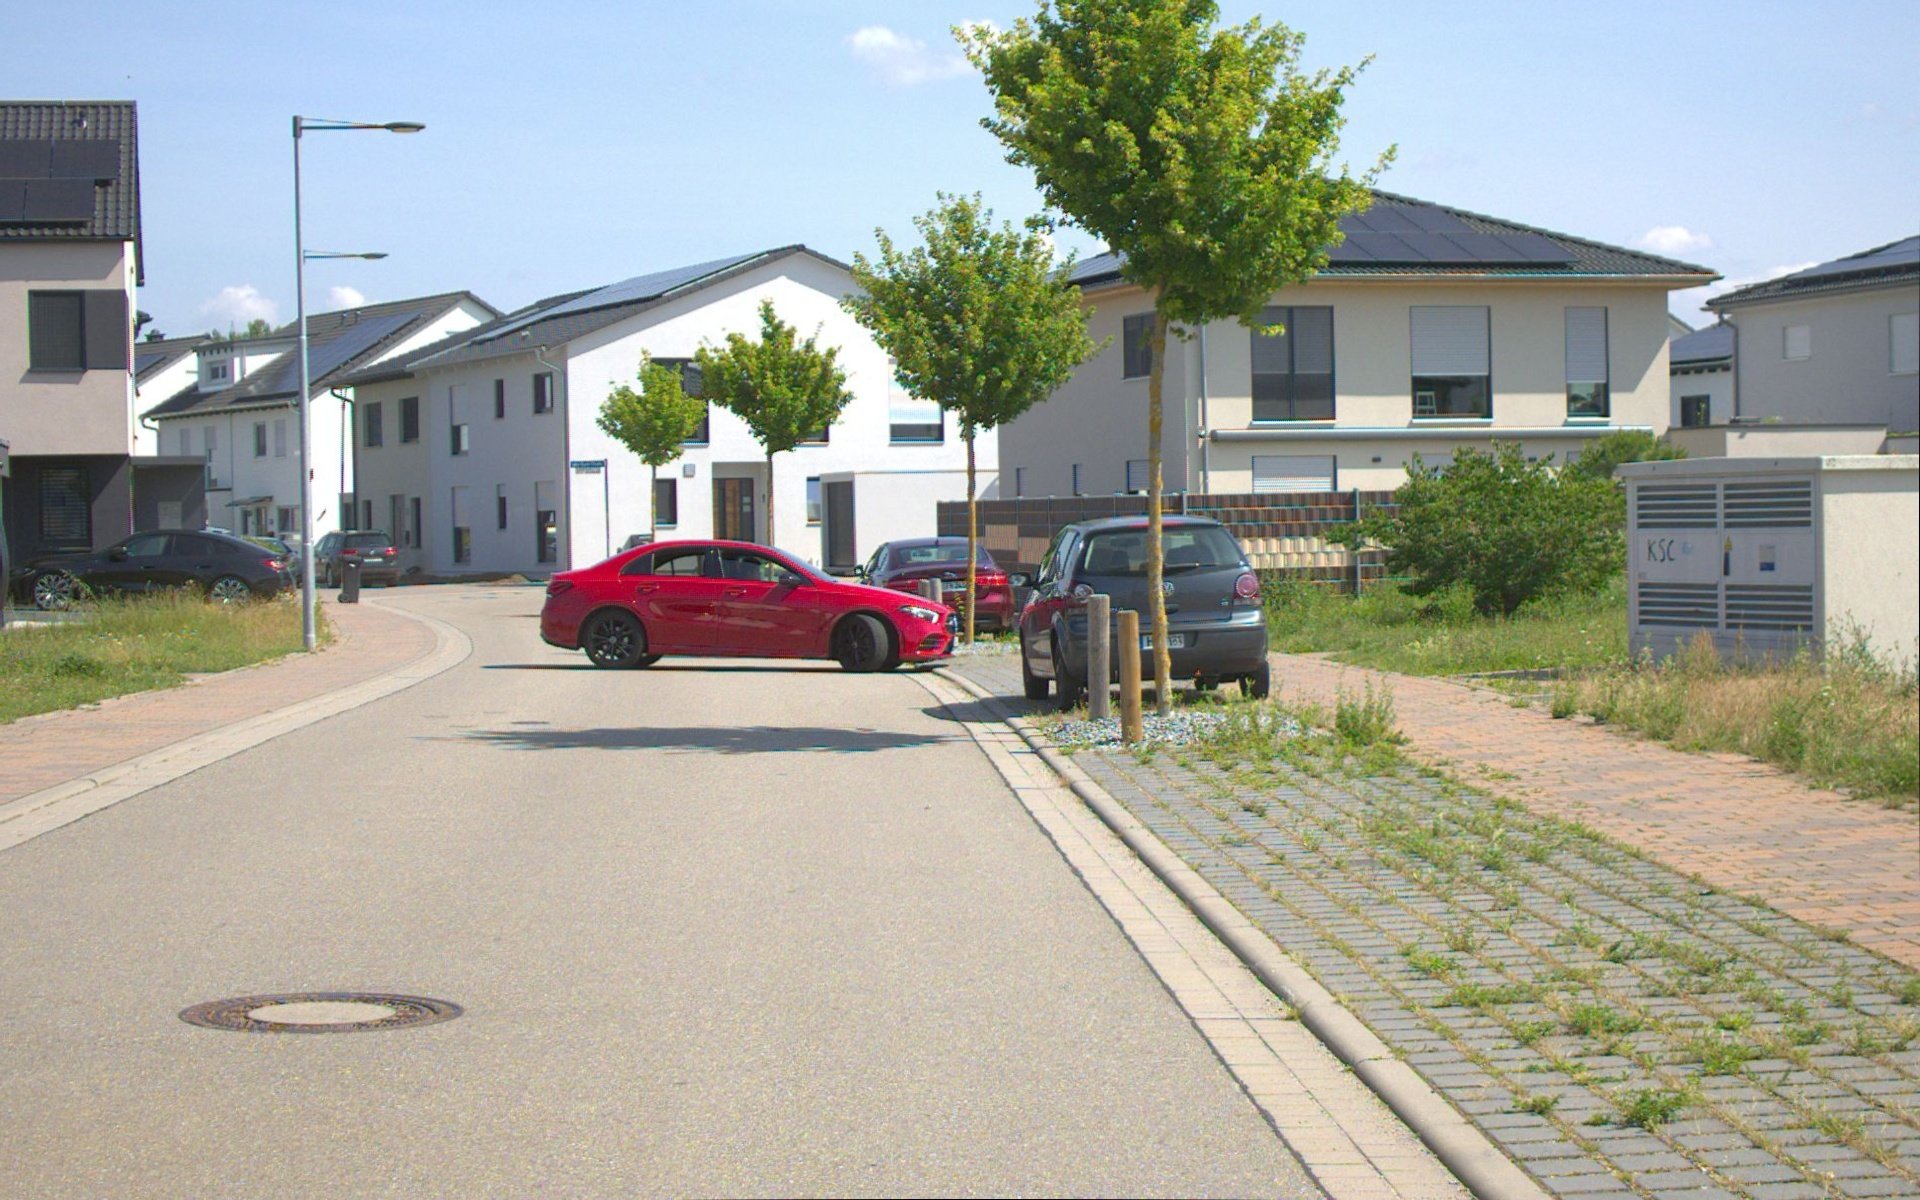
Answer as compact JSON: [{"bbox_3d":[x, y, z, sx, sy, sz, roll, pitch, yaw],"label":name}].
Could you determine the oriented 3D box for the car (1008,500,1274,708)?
[{"bbox_3d":[1.372,-0.015,27.387,1.598,1.470,3.676,-3,1,-4],"label":"car"}]

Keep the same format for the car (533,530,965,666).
[{"bbox_3d":[-2.270,-0.047,37.632,4.505,1.433,1.768,0,1,6],"label":"car"}]

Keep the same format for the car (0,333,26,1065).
[{"bbox_3d":[-3.330,0.312,7.372,1.883,2.007,4.842,0,1,-7],"label":"car"}]

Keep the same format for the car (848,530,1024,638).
[{"bbox_3d":[-0.379,-0.249,46.171,1.754,1.358,4.577,0,1,-8],"label":"car"}]

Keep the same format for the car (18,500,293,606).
[{"bbox_3d":[-13.393,-0.785,57.449,4.374,1.626,1.771,1,1,-11],"label":"car"}]

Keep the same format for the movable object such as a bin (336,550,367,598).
[{"bbox_3d":[-12.031,-0.521,67.985,0.534,0.933,0.526,1,1,-2],"label":"movable object such as a bin"}]

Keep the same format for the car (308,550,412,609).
[{"bbox_3d":[-15.327,-0.547,87.674,1.726,1.418,4.001,-2,2,-23],"label":"car"}]
